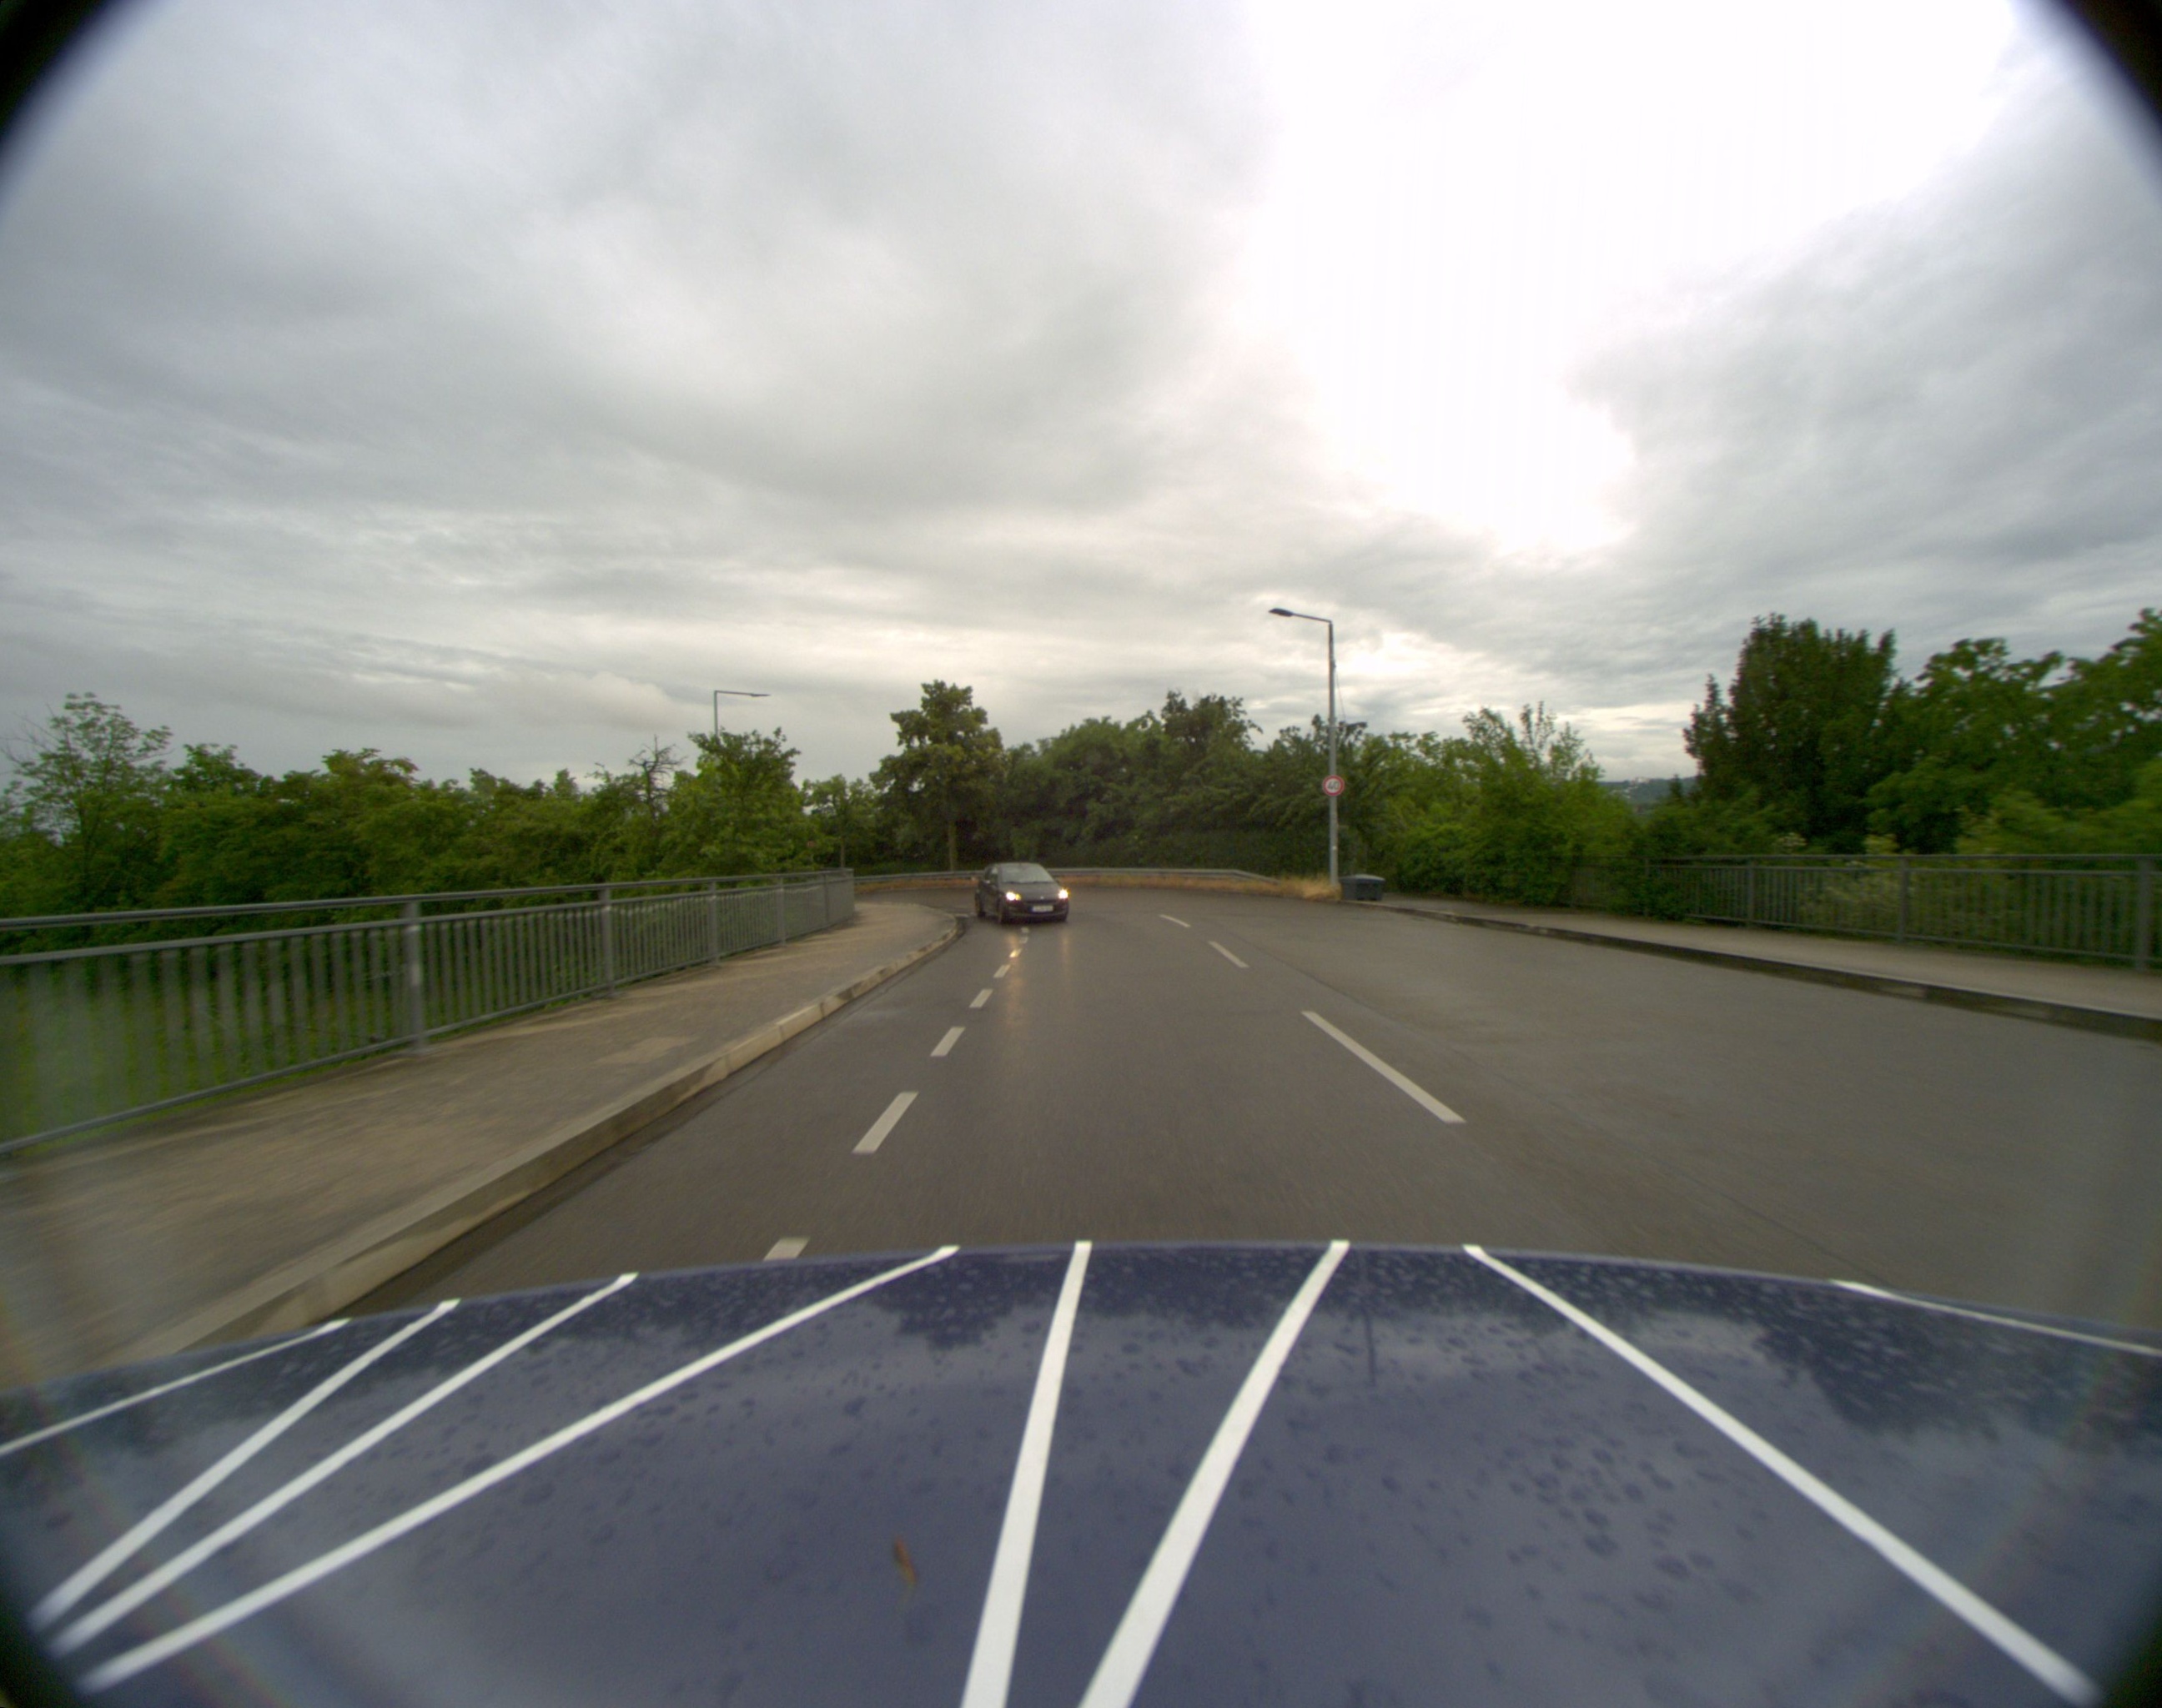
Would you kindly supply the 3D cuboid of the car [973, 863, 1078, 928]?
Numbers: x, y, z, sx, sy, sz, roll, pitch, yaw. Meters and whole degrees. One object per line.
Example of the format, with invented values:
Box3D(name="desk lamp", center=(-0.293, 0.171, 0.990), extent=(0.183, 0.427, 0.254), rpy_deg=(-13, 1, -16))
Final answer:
Box3D(name="car", center=(-1.525, 0.998, 19.440), extent=(1.683, 1.404, 3.631), rpy_deg=(-2, 0, -20))
